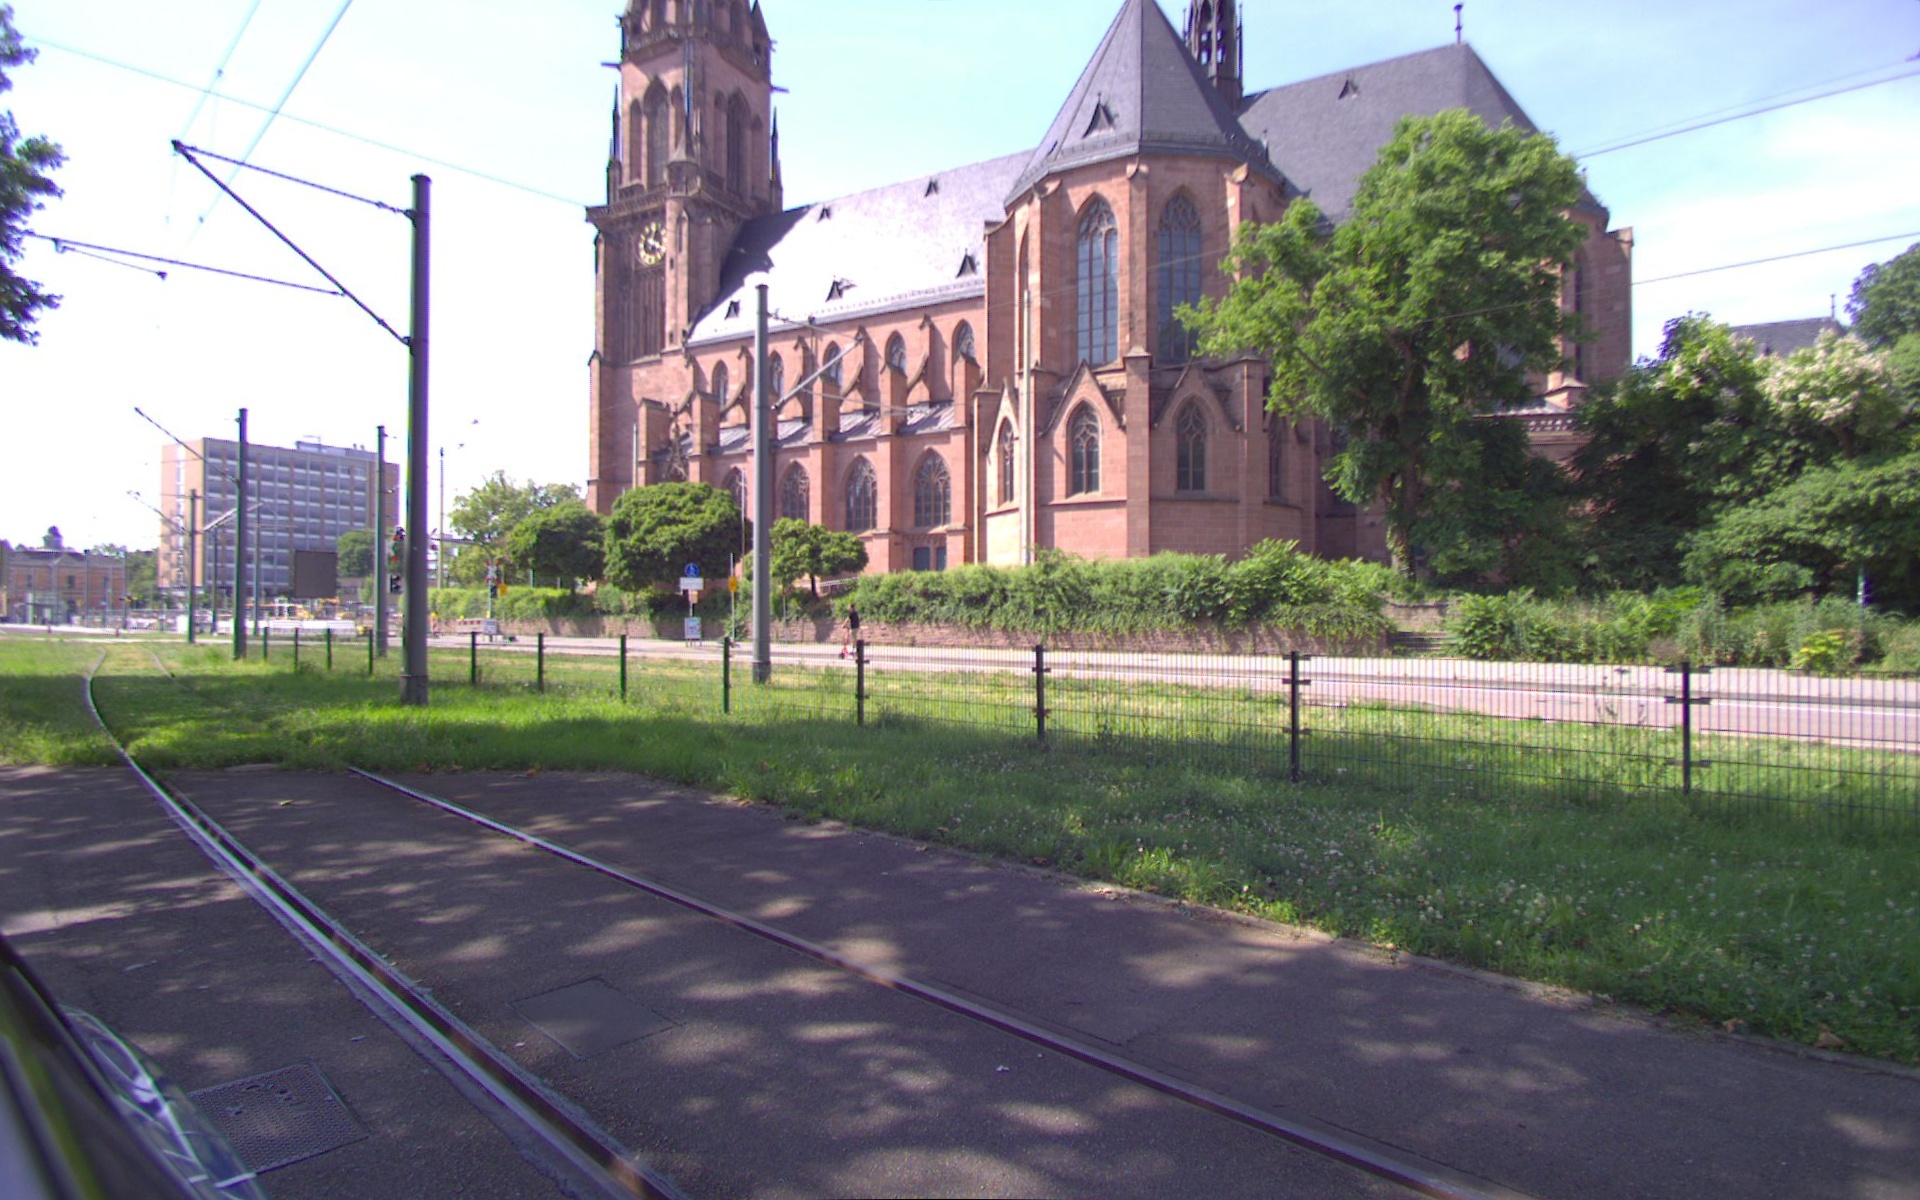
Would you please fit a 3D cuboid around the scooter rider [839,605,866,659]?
[{"bbox_3d":[-3.776,1.116,35.487,0.664,1.881,0.659,-1,-2,43],"label":"scooter rider"}]

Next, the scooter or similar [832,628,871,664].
[{"bbox_3d":[-3.806,1.588,35.452,0.657,1.213,1.253,-1,-2,42],"label":"scooter or similar"}]

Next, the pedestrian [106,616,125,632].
[{"bbox_3d":[-94.605,2.712,113.376,1.420,1.820,1.409,-1,-1,37],"label":"pedestrian"}]

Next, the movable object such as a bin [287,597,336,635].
[{"bbox_3d":[-68.697,1.705,107.322,2.904,3.911,3.327,0,-1,8],"label":"movable object such as a bin"}]
